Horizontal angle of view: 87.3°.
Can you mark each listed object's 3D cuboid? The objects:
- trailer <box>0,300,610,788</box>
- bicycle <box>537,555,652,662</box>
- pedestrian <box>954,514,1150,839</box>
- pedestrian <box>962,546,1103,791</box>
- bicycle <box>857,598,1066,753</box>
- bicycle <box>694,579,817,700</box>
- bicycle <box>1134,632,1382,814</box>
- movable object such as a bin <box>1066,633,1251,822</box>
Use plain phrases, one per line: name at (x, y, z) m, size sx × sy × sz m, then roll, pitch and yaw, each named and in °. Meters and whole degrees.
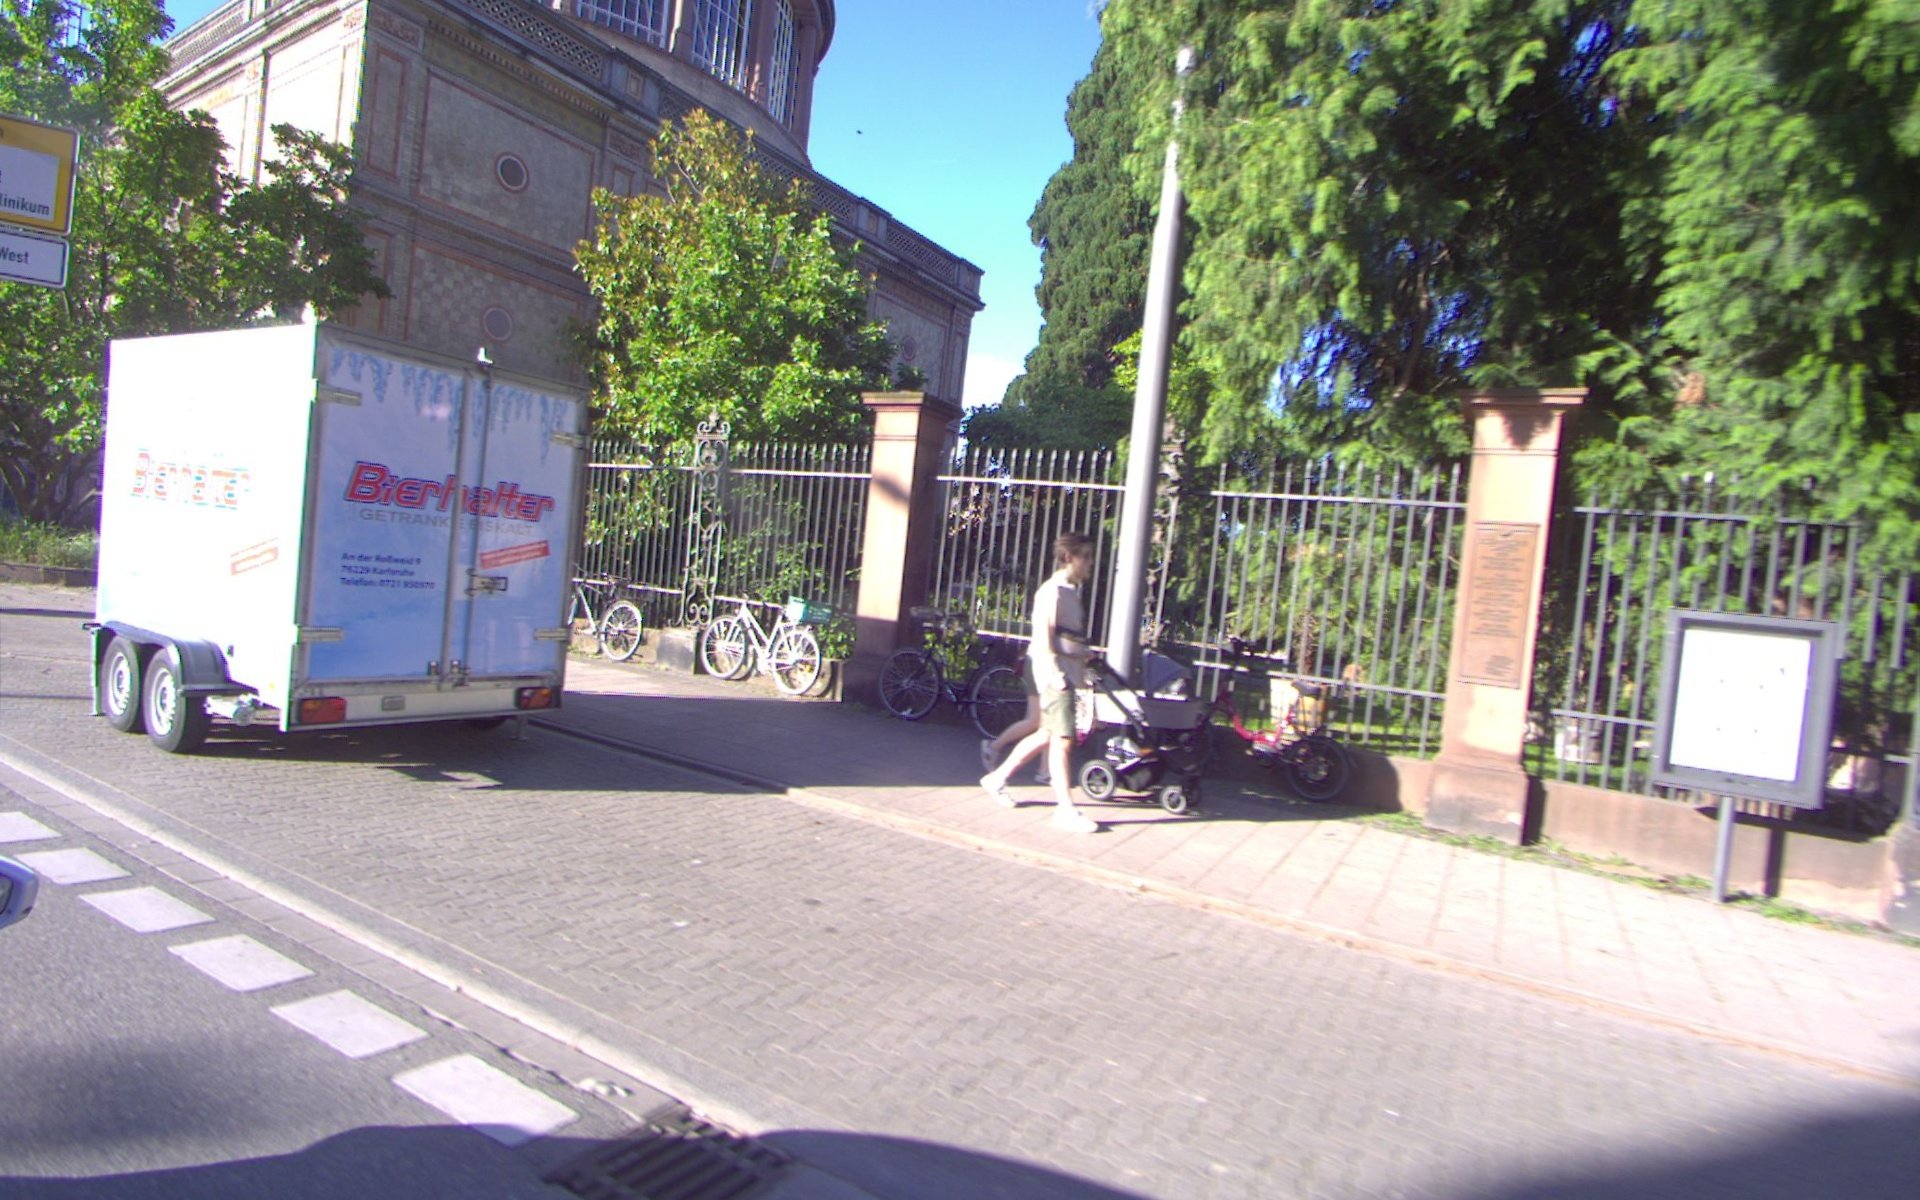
trailer at (-4.941, -0.481, 7.320) m, size 4.417 × 2.563 × 2.079 m, roll 7°, pitch 3°, yaw 32°
bicycle at (-4.491, 0.086, 12.306) m, size 1.654 × 1.121 × 0.398 m, roll 7°, pitch 4°, yaw 36°
pedestrian at (0.606, 0.460, 6.577) m, size 0.874 × 1.920 × 0.715 m, roll 7°, pitch 3°, yaw 28°
pedestrian at (0.560, 0.503, 7.711) m, size 0.682 × 1.724 × 0.682 m, roll 8°, pitch 3°, yaw 30°
bicycle at (-0.023, 0.661, 9.319) m, size 1.895 × 1.145 × 0.395 m, roll 7°, pitch 2°, yaw 31°
bicycle at (-2.236, 0.399, 10.882) m, size 1.508 × 1.121 × 0.273 m, roll 7°, pitch 4°, yaw 36°
bicycle at (2.395, 0.948, 8.223) m, size 1.796 × 1.172 × 0.418 m, roll 7°, pitch 4°, yaw 33°
movable object such as a bin at (1.435, 0.871, 7.260) m, size 1.032 × 1.133 × 0.711 m, roll 7°, pitch 4°, yaw 29°
